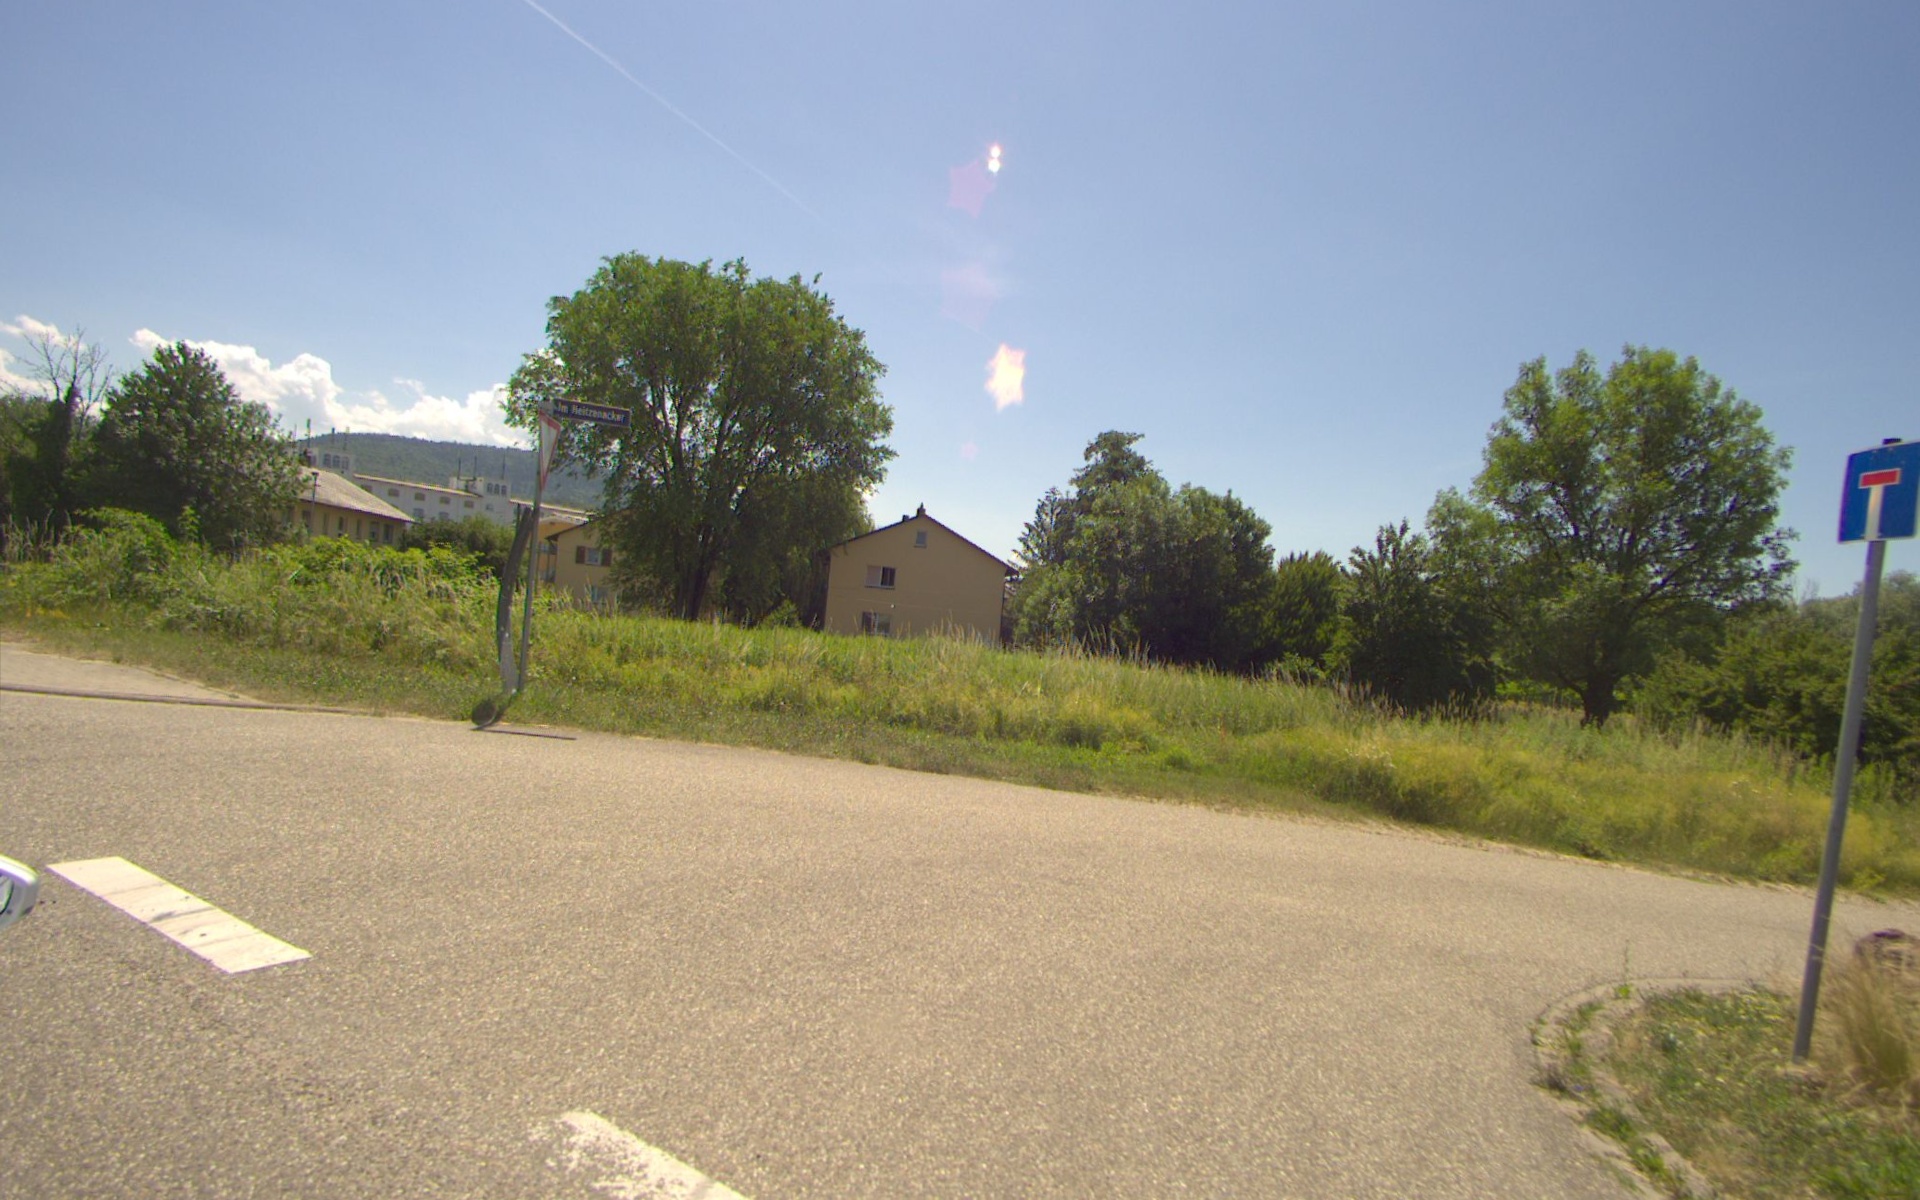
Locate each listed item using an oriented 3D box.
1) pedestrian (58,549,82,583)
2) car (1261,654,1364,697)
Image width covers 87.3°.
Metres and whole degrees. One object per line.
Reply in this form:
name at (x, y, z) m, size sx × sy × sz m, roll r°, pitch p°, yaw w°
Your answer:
pedestrian at (-40.228, -1.519, 45.468) m, size 0.838 × 1.412 × 0.679 m, roll 9°, pitch 4°, yaw 42°
car at (18.106, 3.878, 51.778) m, size 4.434 × 1.644 × 1.997 m, roll 6°, pitch 0°, yaw -8°
